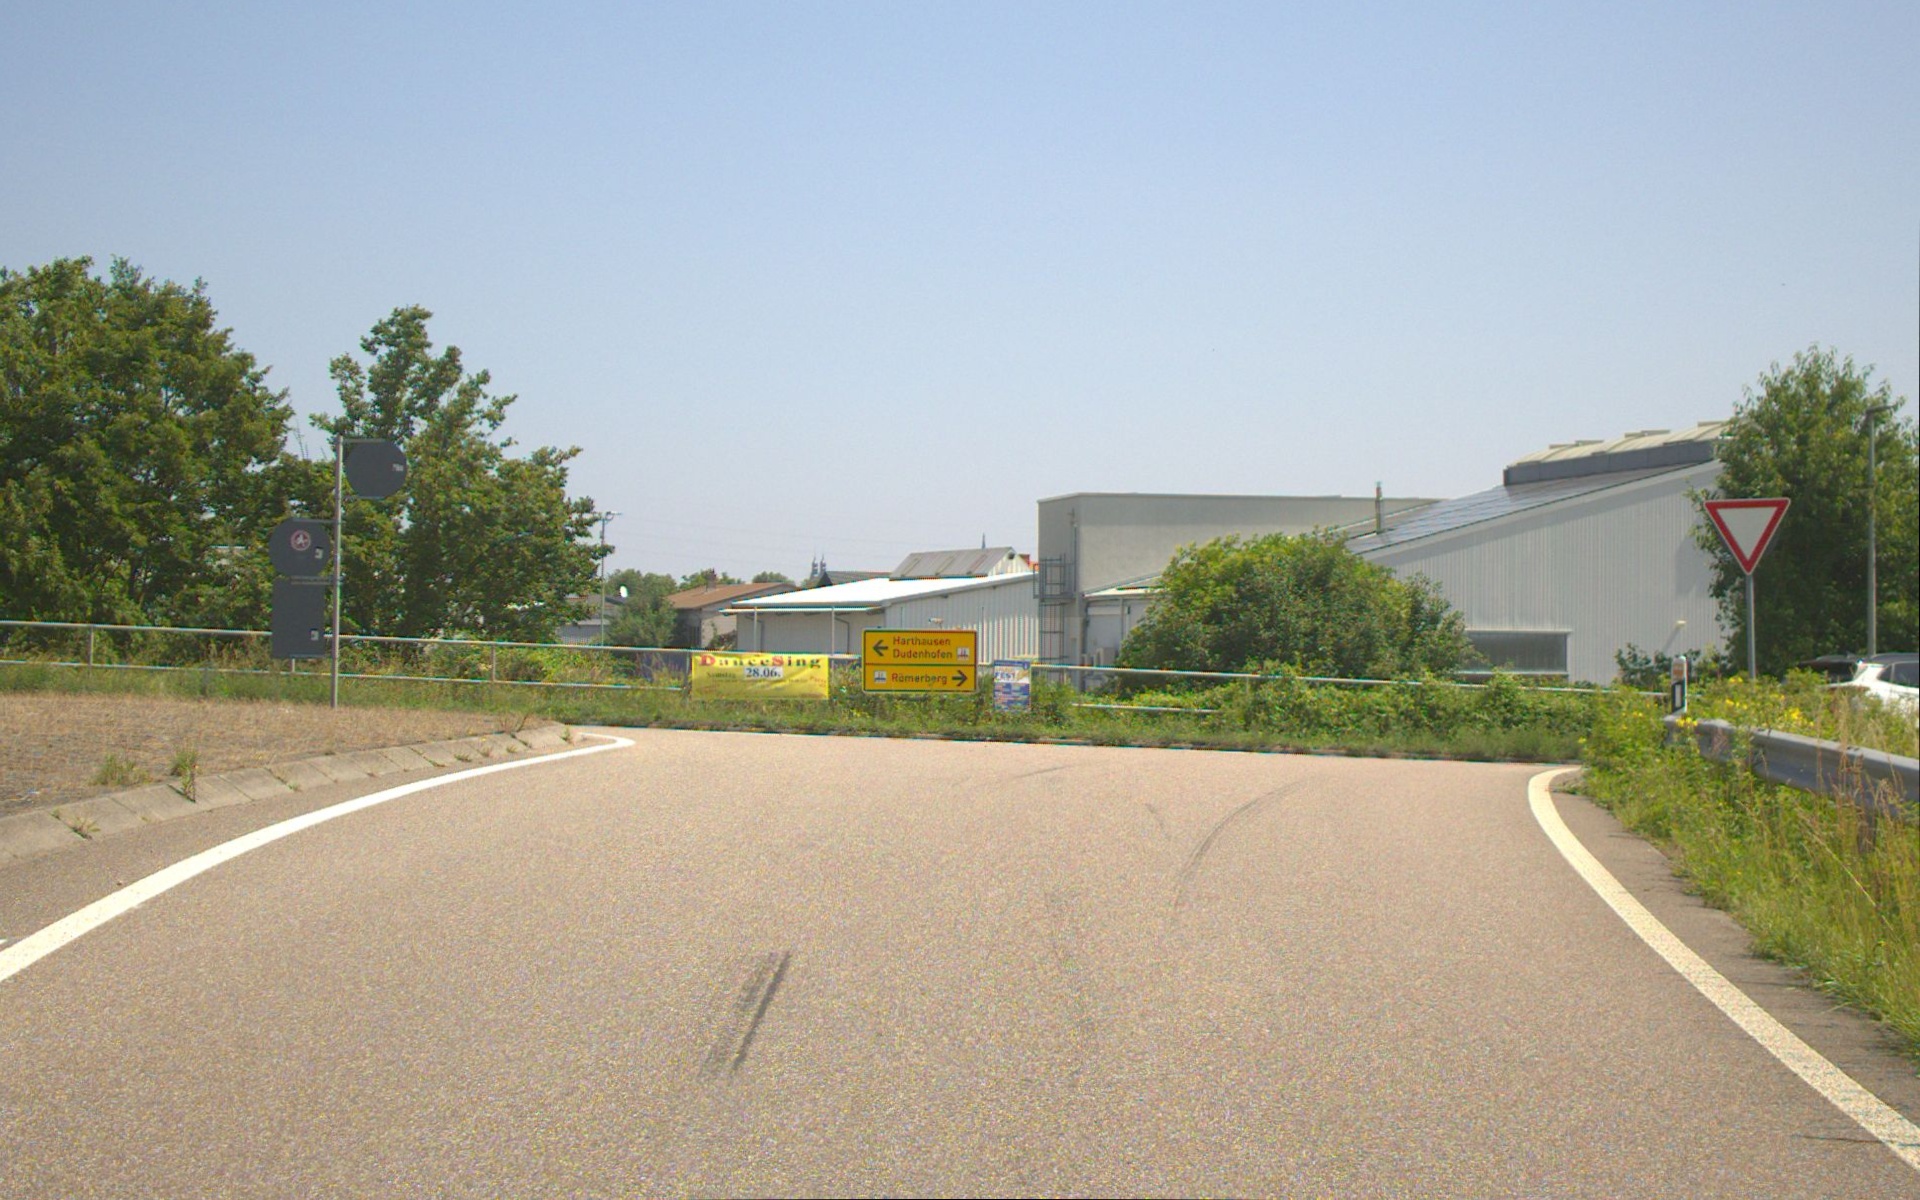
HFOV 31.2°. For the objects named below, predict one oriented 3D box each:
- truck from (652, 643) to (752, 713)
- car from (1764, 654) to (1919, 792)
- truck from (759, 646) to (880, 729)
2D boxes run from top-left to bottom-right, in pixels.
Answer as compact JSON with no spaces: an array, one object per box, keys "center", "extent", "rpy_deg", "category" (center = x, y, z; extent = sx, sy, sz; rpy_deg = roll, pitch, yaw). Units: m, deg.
[{"center":[-16.906,5.027,223.865],"extent":[3.410,4.296,14.596],"rpy_deg":[3,-2,-16],"category":"truck"},{"center":[12.517,1.548,44.205],"extent":[3.986,1.685,1.815],"rpy_deg":[0,-1,-26],"category":"car"},{"center":[-7.904,4.782,190.562],"extent":[3.707,4.296,13.345],"rpy_deg":[3,-2,-15],"category":"truck"}]
